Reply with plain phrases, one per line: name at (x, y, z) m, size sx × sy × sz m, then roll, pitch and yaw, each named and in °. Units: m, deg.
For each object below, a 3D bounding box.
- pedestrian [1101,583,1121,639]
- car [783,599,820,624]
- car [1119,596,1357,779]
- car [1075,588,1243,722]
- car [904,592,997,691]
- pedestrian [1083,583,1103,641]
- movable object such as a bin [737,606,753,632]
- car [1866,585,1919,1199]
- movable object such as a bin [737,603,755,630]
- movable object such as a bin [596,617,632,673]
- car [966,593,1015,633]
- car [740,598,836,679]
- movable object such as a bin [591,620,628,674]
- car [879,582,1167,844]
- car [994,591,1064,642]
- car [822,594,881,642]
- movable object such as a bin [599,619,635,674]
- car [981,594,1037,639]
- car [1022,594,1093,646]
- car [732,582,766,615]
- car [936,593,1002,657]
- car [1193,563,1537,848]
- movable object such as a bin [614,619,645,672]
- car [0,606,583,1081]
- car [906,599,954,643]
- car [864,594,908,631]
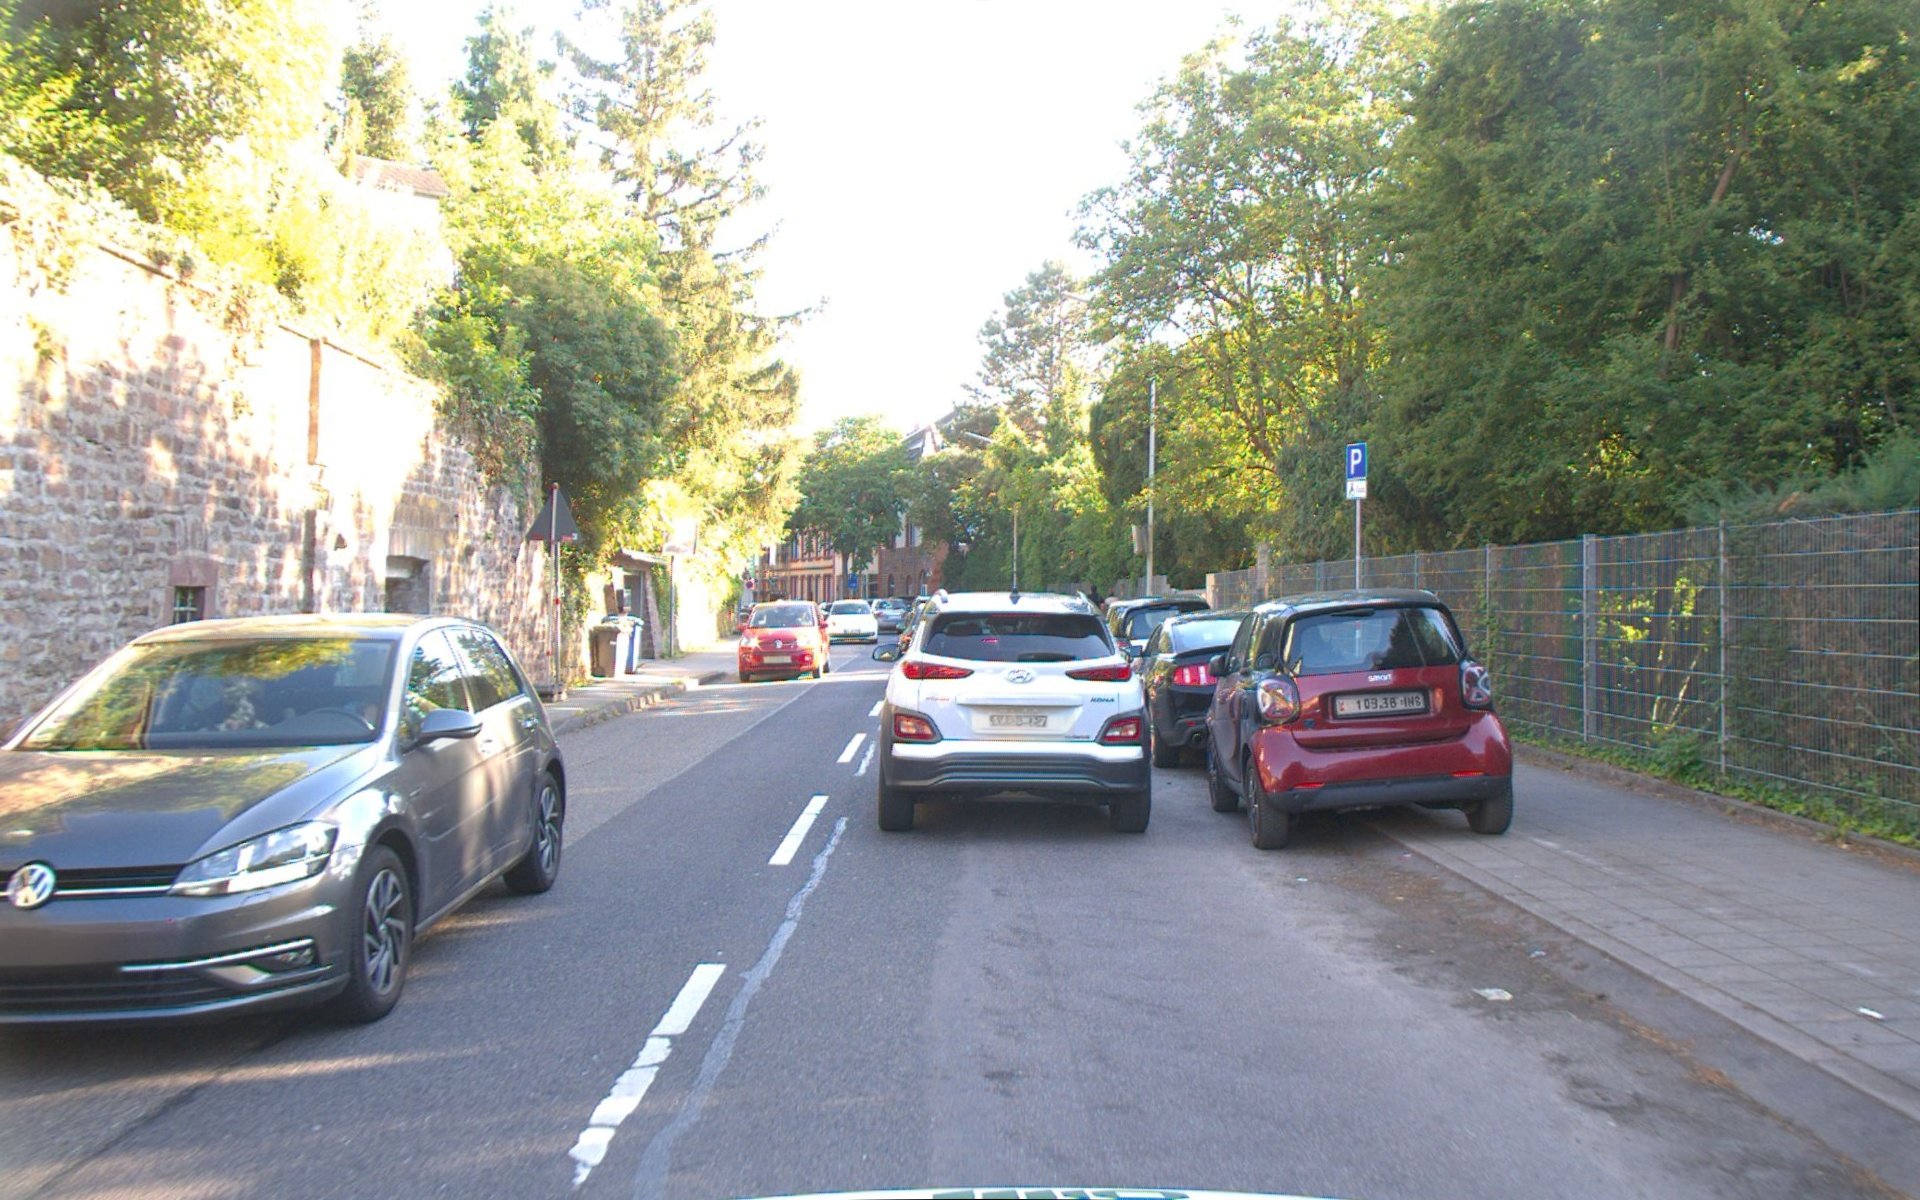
pedestrian at (4.373, 0.308, 47.957) m, size 0.493 × 1.596 × 0.503 m, roll -2°, pitch 0°, yaw 0°
car at (-11.173, 0.792, 116.238) m, size 1.728 × 1.645 × 3.980 m, roll 1°, pitch 0°, yaw -18°
car at (2.638, 0.759, 16.727) m, size 1.675 × 1.524 × 4.815 m, roll 2°, pitch 0°, yaw 1°
car at (2.509, 0.653, 21.465) m, size 1.593 × 1.536 × 2.901 m, roll -2°, pitch 1°, yaw -4°
car at (-0.109, 0.658, 28.281) m, size 1.480 × 1.560 × 3.548 m, roll 0°, pitch 0°, yaw 1°
pedestrian at (3.850, 0.348, 47.960) m, size 0.493 × 1.634 × 0.491 m, roll -2°, pitch 0°, yaw 0°
movable object such as a bin at (-8.788, 0.787, 67.649) m, size 0.485 × 1.029 × 1.112 m, roll 1°, pitch -1°, yaw -1°
car at (2.838, 0.705, 1.535) m, size 1.758 × 1.466 × 3.999 m, roll 0°, pitch 0°, yaw -1°
movable object such as a bin at (-10.047, 0.779, 77.678) m, size 0.776 × 1.210 × 0.772 m, roll 1°, pitch -1°, yaw -2°
movable object such as a bin at (-6.353, 0.821, 30.389) m, size 0.561 × 1.002 × 0.438 m, roll 1°, pitch -1°, yaw -3°
car at (1.210, 0.491, 66.482) m, size 1.562 × 1.515 × 3.598 m, roll -2°, pitch 0°, yaw -5°
car at (-3.377, 0.724, 32.958) m, size 1.519 × 1.492 × 3.568 m, roll -2°, pitch 0°, yaw 0°
movable object such as a bin at (-6.338, 0.845, 29.930) m, size 0.572 × 0.954 × 0.438 m, roll 1°, pitch -1°, yaw -3°
car at (0.386, 0.693, 12.086) m, size 1.736 × 1.569 × 4.000 m, roll 1°, pitch 0°, yaw 0°
car at (2.271, 0.536, 55.436) m, size 1.564 × 1.592 × 3.992 m, roll -2°, pitch 0°, yaw -9°
car at (-3.731, 0.623, 57.466) m, size 1.705 × 1.500 × 4.000 m, roll -3°, pitch 0°, yaw 0°
movable object such as a bin at (-6.402, 0.860, 30.876) m, size 0.561 × 1.002 × 0.438 m, roll 1°, pitch -1°, yaw -3°
car at (1.782, 0.591, 60.774) m, size 1.562 × 1.546 × 3.928 m, roll -2°, pitch 0°, yaw -5°
car at (2.892, 0.569, 49.876) m, size 1.653 × 1.456 × 3.997 m, roll -2°, pitch 0°, yaw -3°
car at (-17.177, -0.110, 134.364) m, size 1.900 × 2.628 × 4.369 m, roll -1°, pitch 0°, yaw -19°
car at (0.252, 0.596, 41.595) m, size 1.538 × 1.503 × 3.548 m, roll 1°, pitch 0°, yaw 2°
car at (2.636, 0.644, 11.394) m, size 1.619 × 1.591 × 2.873 m, roll -4°, pitch 0°, yaw 1°
movable object such as a bin at (-6.284, 0.855, 31.461) m, size 0.480 × 0.981 × 0.583 m, roll 1°, pitch 0°, yaw -3°
car at (-2.828, 0.760, 7.058) m, size 1.616 × 1.435 × 3.929 m, roll -1°, pitch 0°, yaw -1°
car at (-1.081, 0.713, 58.237) m, size 1.561 × 1.486 × 3.097 m, roll 0°, pitch 0°, yaw -3°
car at (-3.358, 0.552, 74.723) m, size 1.560 × 1.610 × 3.353 m, roll 0°, pitch 0°, yaw -10°
